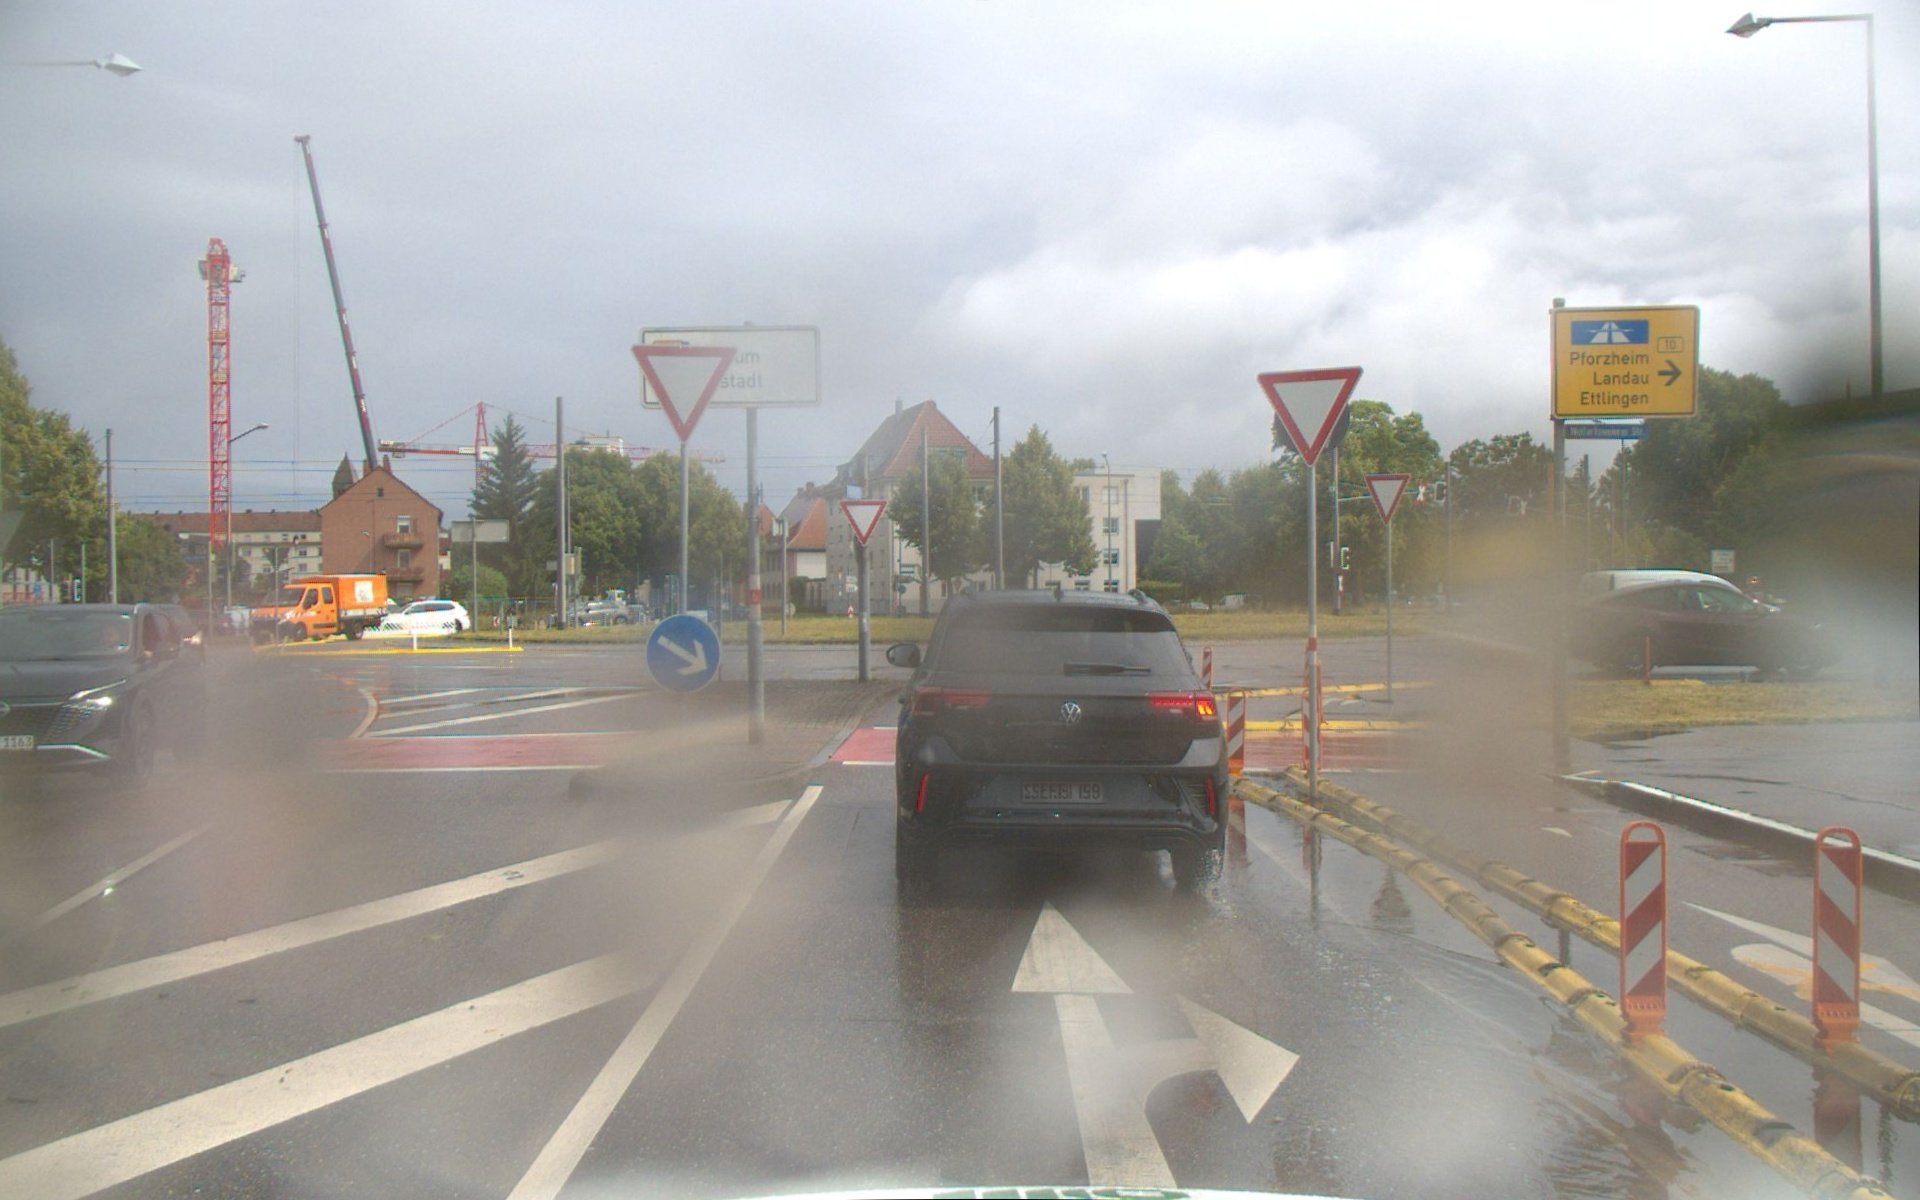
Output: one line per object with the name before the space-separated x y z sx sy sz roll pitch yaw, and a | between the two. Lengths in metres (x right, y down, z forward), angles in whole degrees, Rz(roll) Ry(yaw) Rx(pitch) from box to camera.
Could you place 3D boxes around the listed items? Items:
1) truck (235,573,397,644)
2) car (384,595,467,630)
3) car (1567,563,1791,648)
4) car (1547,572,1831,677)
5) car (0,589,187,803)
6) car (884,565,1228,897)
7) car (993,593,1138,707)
truck | -25.533 0.308 65.990 2.273 2.696 7.095 0 0 15
car | -25.308 0.562 78.342 3.466 1.612 1.548 0 0 -35
car | 16.280 0.120 37.553 4.303 1.841 1.868 0 0 -5
car | 13.030 0.424 29.784 4.250 1.755 2.001 -1 0 6
car | -8.350 0.806 15.367 1.709 1.693 4.085 -2 0 -20
car | 0.387 0.641 9.874 1.674 1.601 3.681 0 0 -3
car | 1.613 0.668 24.149 1.698 1.540 3.607 0 0 10
